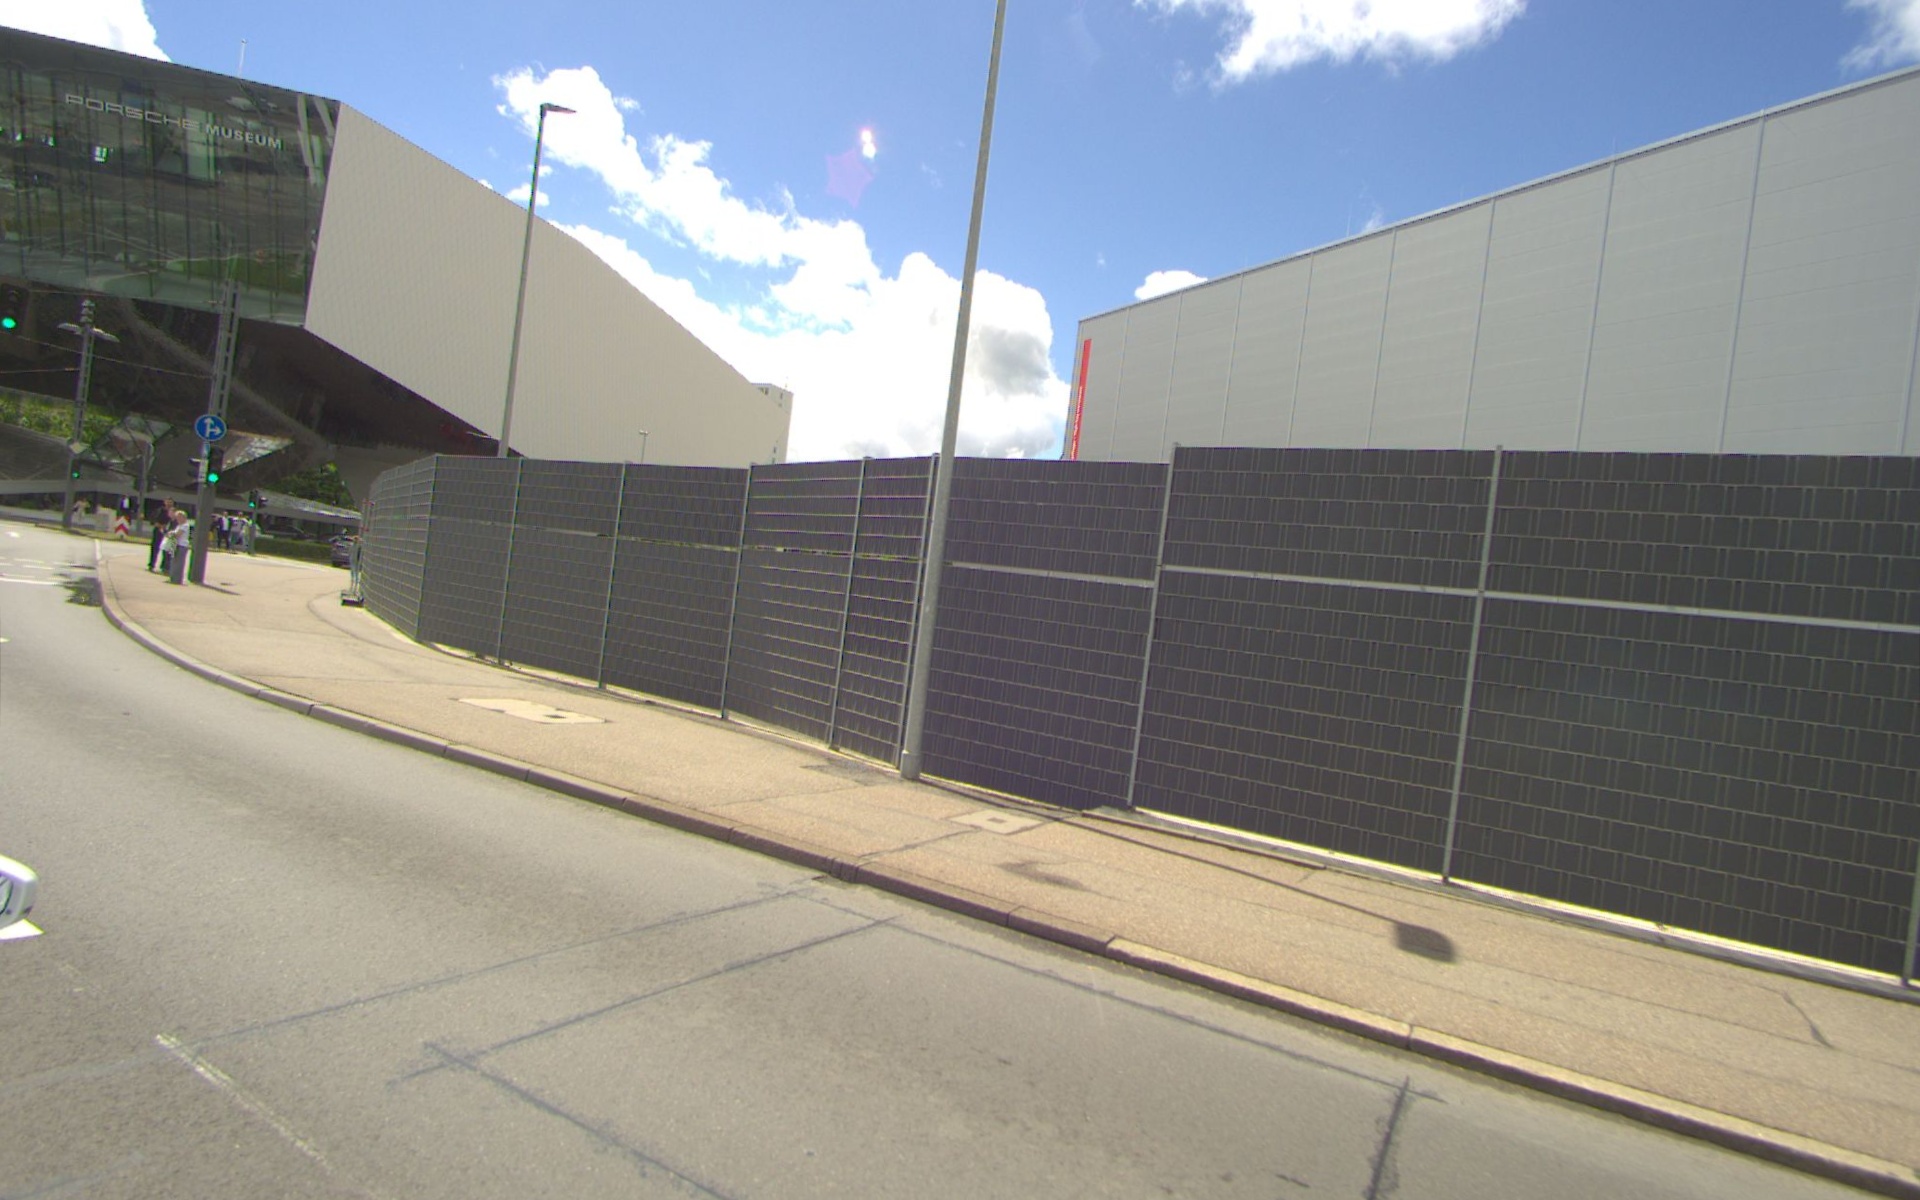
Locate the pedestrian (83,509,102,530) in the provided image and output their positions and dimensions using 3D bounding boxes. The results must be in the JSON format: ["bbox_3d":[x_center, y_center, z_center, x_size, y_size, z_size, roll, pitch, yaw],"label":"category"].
[{"bbox_3d":[-62.582,-5.795,72.559,0.634,1.333,0.692,7,-1,-12],"label":"pedestrian"}]

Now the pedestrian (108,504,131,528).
[{"bbox_3d":[-62.560,-6.221,74.844,0.906,1.591,0.831,6,-1,21],"label":"pedestrian"}]

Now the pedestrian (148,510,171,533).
[{"bbox_3d":[-60.023,-5.873,75.445,0.906,1.591,0.831,6,-1,21],"label":"pedestrian"}]

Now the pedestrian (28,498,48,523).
[{"bbox_3d":[-64.606,-6.278,70.518,0.824,1.591,0.914,8,-2,-38],"label":"pedestrian"}]

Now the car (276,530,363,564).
[{"bbox_3d":[-39.770,-3.254,62.581,1.806,1.399,4.157,8,-1,26],"label":"car"}]

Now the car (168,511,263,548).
[{"bbox_3d":[-43.019,-4.076,58.170,1.810,1.569,3.987,6,0,36],"label":"car"}]

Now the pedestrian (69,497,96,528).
[{"bbox_3d":[-47.117,-4.714,54.002,0.758,1.513,0.583,7,-1,-3],"label":"pedestrian"}]

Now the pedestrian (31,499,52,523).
[{"bbox_3d":[-65.266,-6.315,71.476,0.822,1.591,0.916,8,-1,-33],"label":"pedestrian"}]

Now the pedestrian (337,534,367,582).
[{"bbox_3d":[-21.706,-1.484,35.916,0.687,1.605,0.915,7,-1,-28],"label":"pedestrian"}]

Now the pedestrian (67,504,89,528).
[{"bbox_3d":[-63.481,-6.047,72.391,0.782,1.591,0.693,7,-1,-9],"label":"pedestrian"}]

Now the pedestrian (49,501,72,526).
[{"bbox_3d":[-64.477,-6.188,72.085,0.913,1.591,0.824,8,-1,-30],"label":"pedestrian"}]

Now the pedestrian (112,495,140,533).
[{"bbox_3d":[-47.641,-4.916,57.455,0.951,2.009,1.363,8,1,-44],"label":"pedestrian"}]

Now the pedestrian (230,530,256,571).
[{"bbox_3d":[-35.157,-2.426,49.308,0.663,1.868,0.618,7,-1,-16],"label":"pedestrian"}]

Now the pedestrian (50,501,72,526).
[{"bbox_3d":[-63.665,-6.120,71.225,0.915,1.591,0.823,8,-1,-34],"label":"pedestrian"}]

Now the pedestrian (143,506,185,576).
[{"bbox_3d":[-19.723,-1.465,24.926,0.652,1.634,0.464,6,-1,32],"label":"pedestrian"}]

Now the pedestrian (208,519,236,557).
[{"bbox_3d":[-34.777,-2.919,47.402,0.608,1.657,0.673,7,-1,3],"label":"pedestrian"}]

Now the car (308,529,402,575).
[{"bbox_3d":[-31.193,-2.441,52.001,1.962,1.722,4.005,7,-2,7],"label":"car"}]

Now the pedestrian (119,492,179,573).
[{"bbox_3d":[-20.321,-1.685,25.206,0.778,1.888,0.662,7,-1,15],"label":"pedestrian"}]

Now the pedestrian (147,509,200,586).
[{"bbox_3d":[-17.782,-1.190,22.745,0.811,1.627,0.659,6,-1,41],"label":"pedestrian"}]

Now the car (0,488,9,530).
[{"bbox_3d":[-41.340,-3.987,41.617,3.936,1.656,1.995,7,-1,34],"label":"car"}]

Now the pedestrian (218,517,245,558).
[{"bbox_3d":[-34.854,-2.993,48.143,0.662,1.815,0.619,7,-1,-14],"label":"pedestrian"}]

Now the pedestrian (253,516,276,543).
[{"bbox_3d":[-51.194,-5.188,74.089,0.906,1.847,0.831,6,-1,21],"label":"pedestrian"}]
